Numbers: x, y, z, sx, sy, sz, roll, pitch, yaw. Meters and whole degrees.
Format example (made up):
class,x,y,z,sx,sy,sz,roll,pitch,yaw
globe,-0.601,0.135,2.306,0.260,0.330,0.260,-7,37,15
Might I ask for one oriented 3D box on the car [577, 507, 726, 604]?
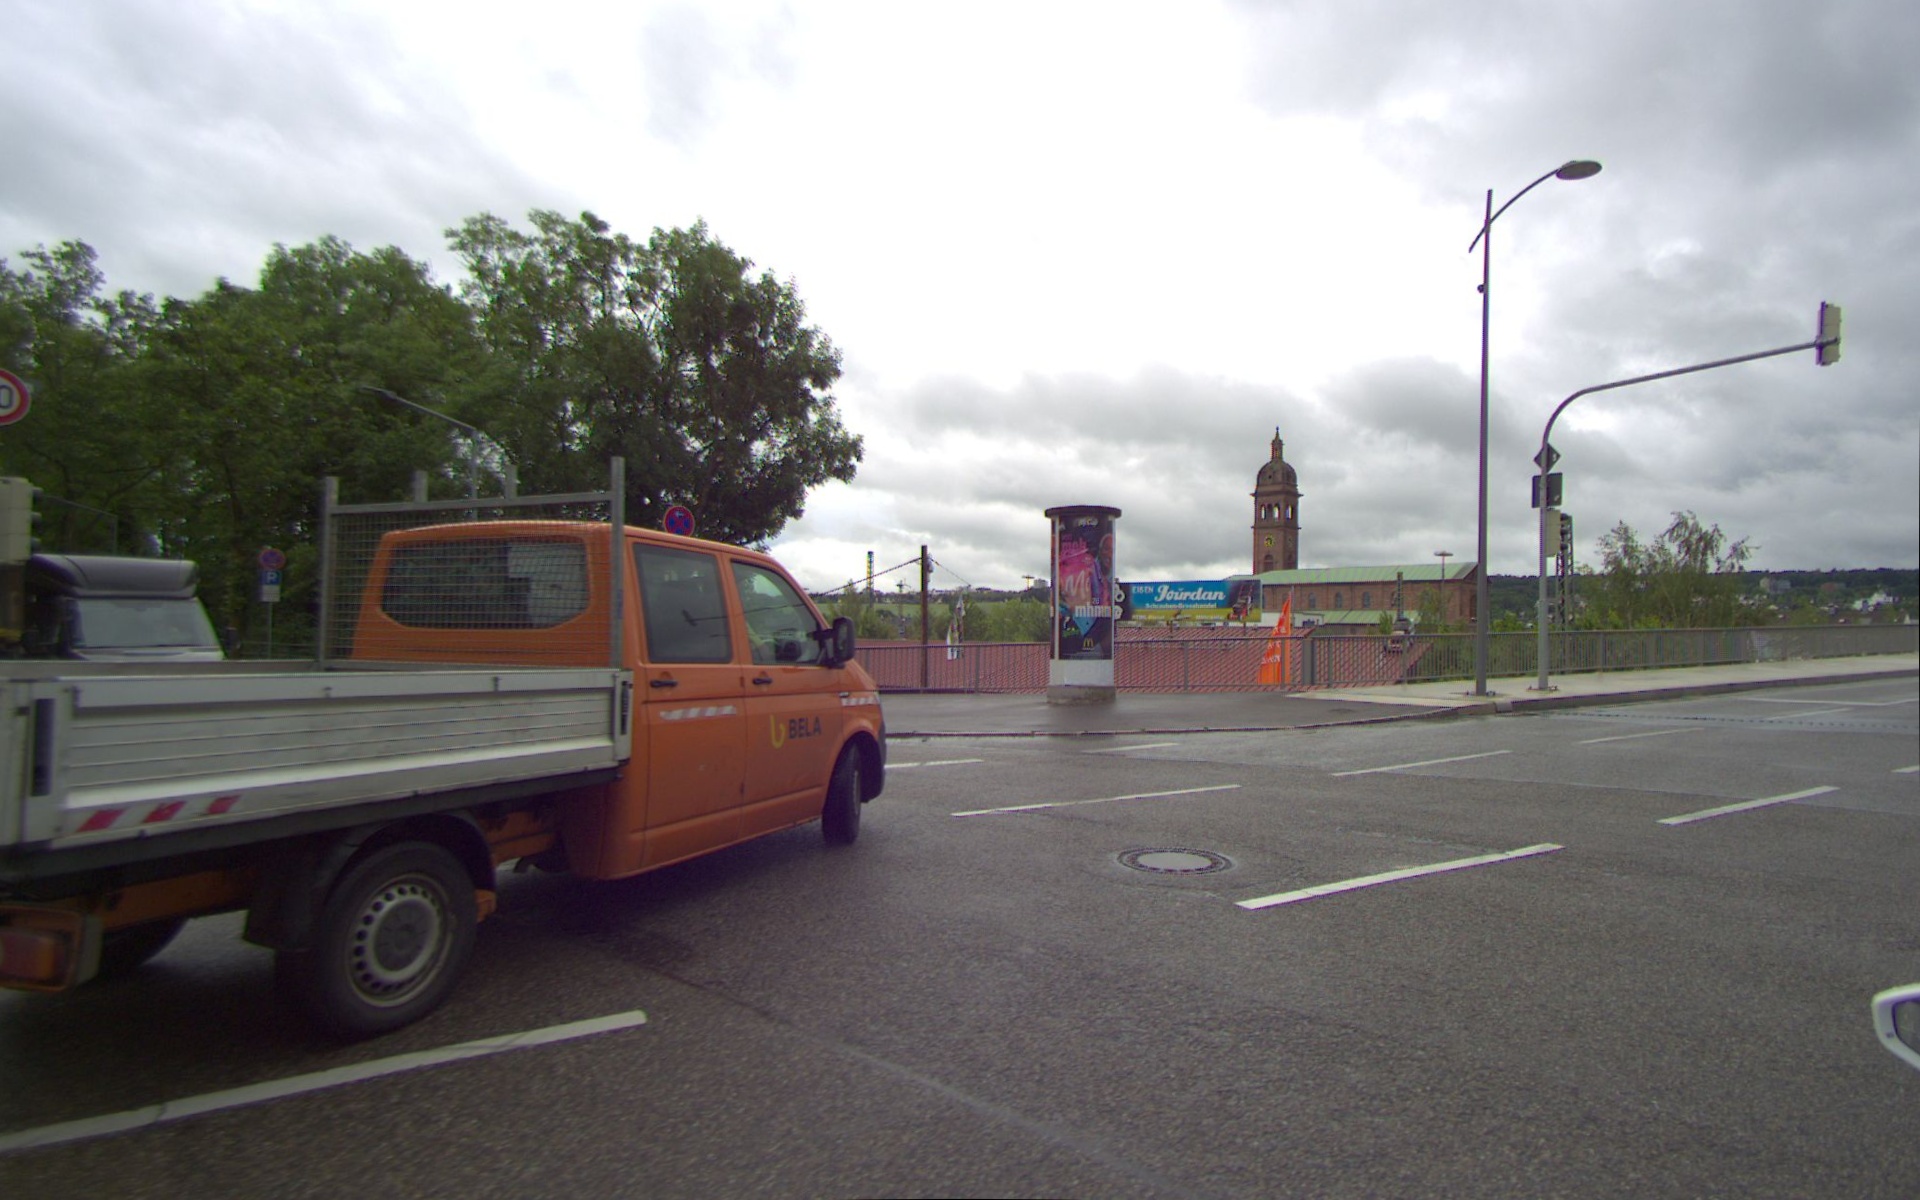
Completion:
class,x,y,z,sx,sy,sz,roll,pitch,yaw
car,-5.802,-0.767,18.831,2.628,1.567,1.523,-1,-3,42

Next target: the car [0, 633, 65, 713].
class,x,y,z,sx,sy,sz,roll,pitch,yaw
car,-20.174,1.443,20.549,3.640,1.518,1.866,0,-3,33

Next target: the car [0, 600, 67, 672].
class,x,y,z,sx,sy,sz,roll,pitch,yaw
car,-28.392,1.046,29.747,3.934,2.040,1.994,0,-3,35

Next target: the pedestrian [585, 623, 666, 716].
class,x,y,z,sx,sy,sz,roll,pitch,yaw
pedestrian,-6.755,1.387,20.299,1.052,1.780,1.062,0,-3,25

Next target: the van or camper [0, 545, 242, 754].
class,x,y,z,sx,sy,sz,roll,pitch,yaw
van or camper,-13.942,0.722,15.986,6.376,2.766,1.994,0,-3,35

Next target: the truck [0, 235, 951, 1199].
class,x,y,z,sx,sy,sz,roll,pitch,yaw
truck,-2.216,0.394,5.101,2.361,2.157,5.313,0,-3,23
